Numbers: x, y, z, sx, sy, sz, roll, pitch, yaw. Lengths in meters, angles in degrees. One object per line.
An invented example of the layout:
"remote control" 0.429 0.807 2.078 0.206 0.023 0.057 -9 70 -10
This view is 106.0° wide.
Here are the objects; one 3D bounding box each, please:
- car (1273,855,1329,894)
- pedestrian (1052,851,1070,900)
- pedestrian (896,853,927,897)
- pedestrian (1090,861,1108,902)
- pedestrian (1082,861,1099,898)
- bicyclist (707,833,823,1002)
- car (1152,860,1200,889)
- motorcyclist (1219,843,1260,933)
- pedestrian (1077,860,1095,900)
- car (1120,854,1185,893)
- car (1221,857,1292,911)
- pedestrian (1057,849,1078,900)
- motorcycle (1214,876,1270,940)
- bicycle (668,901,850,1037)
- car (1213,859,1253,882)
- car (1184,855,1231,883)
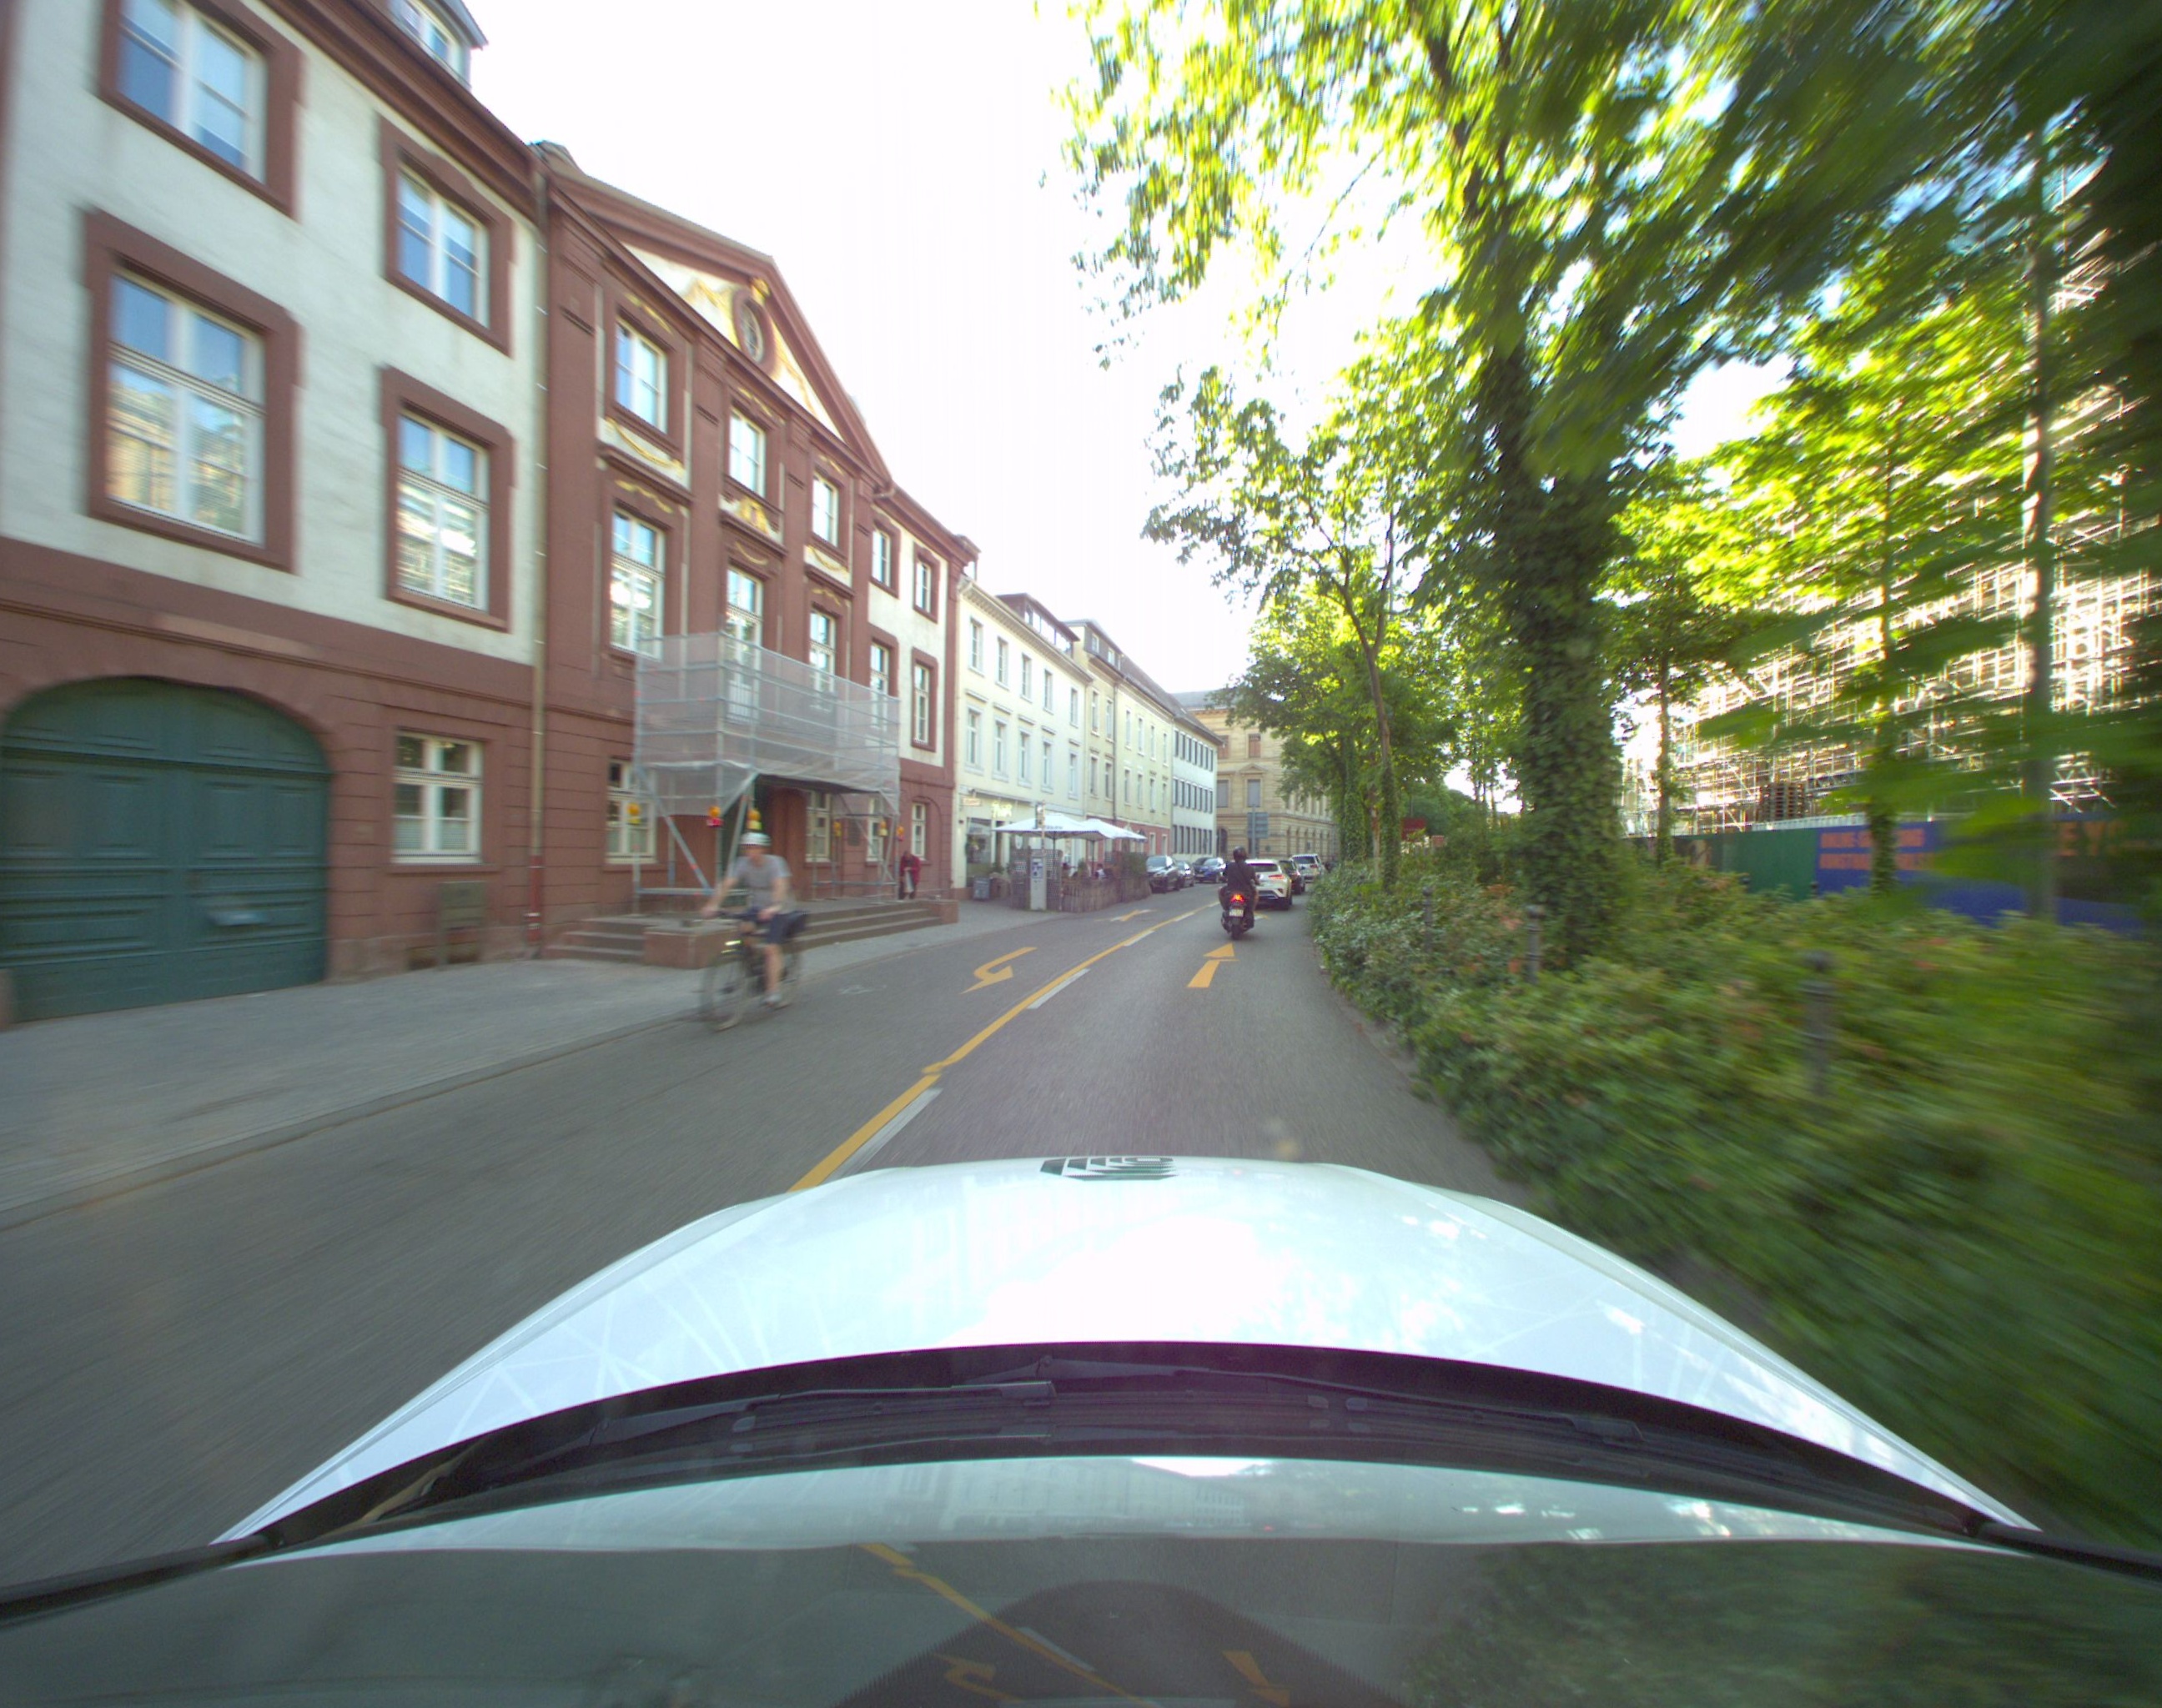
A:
"car" 9.130 0.795 33.576 1.825 1.463 4.078 1 0 21
"pedestrian" -0.736 0.787 30.124 0.433 1.775 0.601 0 0 29
"pedestrian" -4.153 0.504 19.972 0.533 1.053 0.553 1 0 12
"pedestrian" 0.658 0.975 29.320 0.466 1.433 0.504 1 0 21
"pedestrian" 0.348 0.958 30.594 0.519 1.391 0.490 0 0 13
"bicyclist" -3.144 0.603 8.173 0.740 1.583 0.797 1 0 8
"car" 5.115 1.060 43.379 1.640 1.480 4.449 0 0 19
"motorcyclist" 3.018 0.633 15.530 0.654 1.650 0.651 1 0 4
"pedestrian" 0.169 0.917 28.628 0.519 1.391 0.490 0 0 13
"car" 3.405 0.873 37.738 1.906 1.679 4.808 0 0 19
"car" 5.393 0.839 24.714 1.837 1.480 4.074 0 0 16
"pedestrian" -0.480 0.720 28.765 0.590 1.775 0.441 0 0 25
"motorcycle" 3.021 0.991 15.440 0.793 1.066 1.726 1 0 3
"bicycle" -3.149 1.077 8.248 0.767 1.062 2.083 0 0 8
"car" 10.811 1.143 57.729 1.808 1.503 4.785 1 0 22
"car" 7.980 0.898 51.008 1.917 1.667 4.370 0 0 22
